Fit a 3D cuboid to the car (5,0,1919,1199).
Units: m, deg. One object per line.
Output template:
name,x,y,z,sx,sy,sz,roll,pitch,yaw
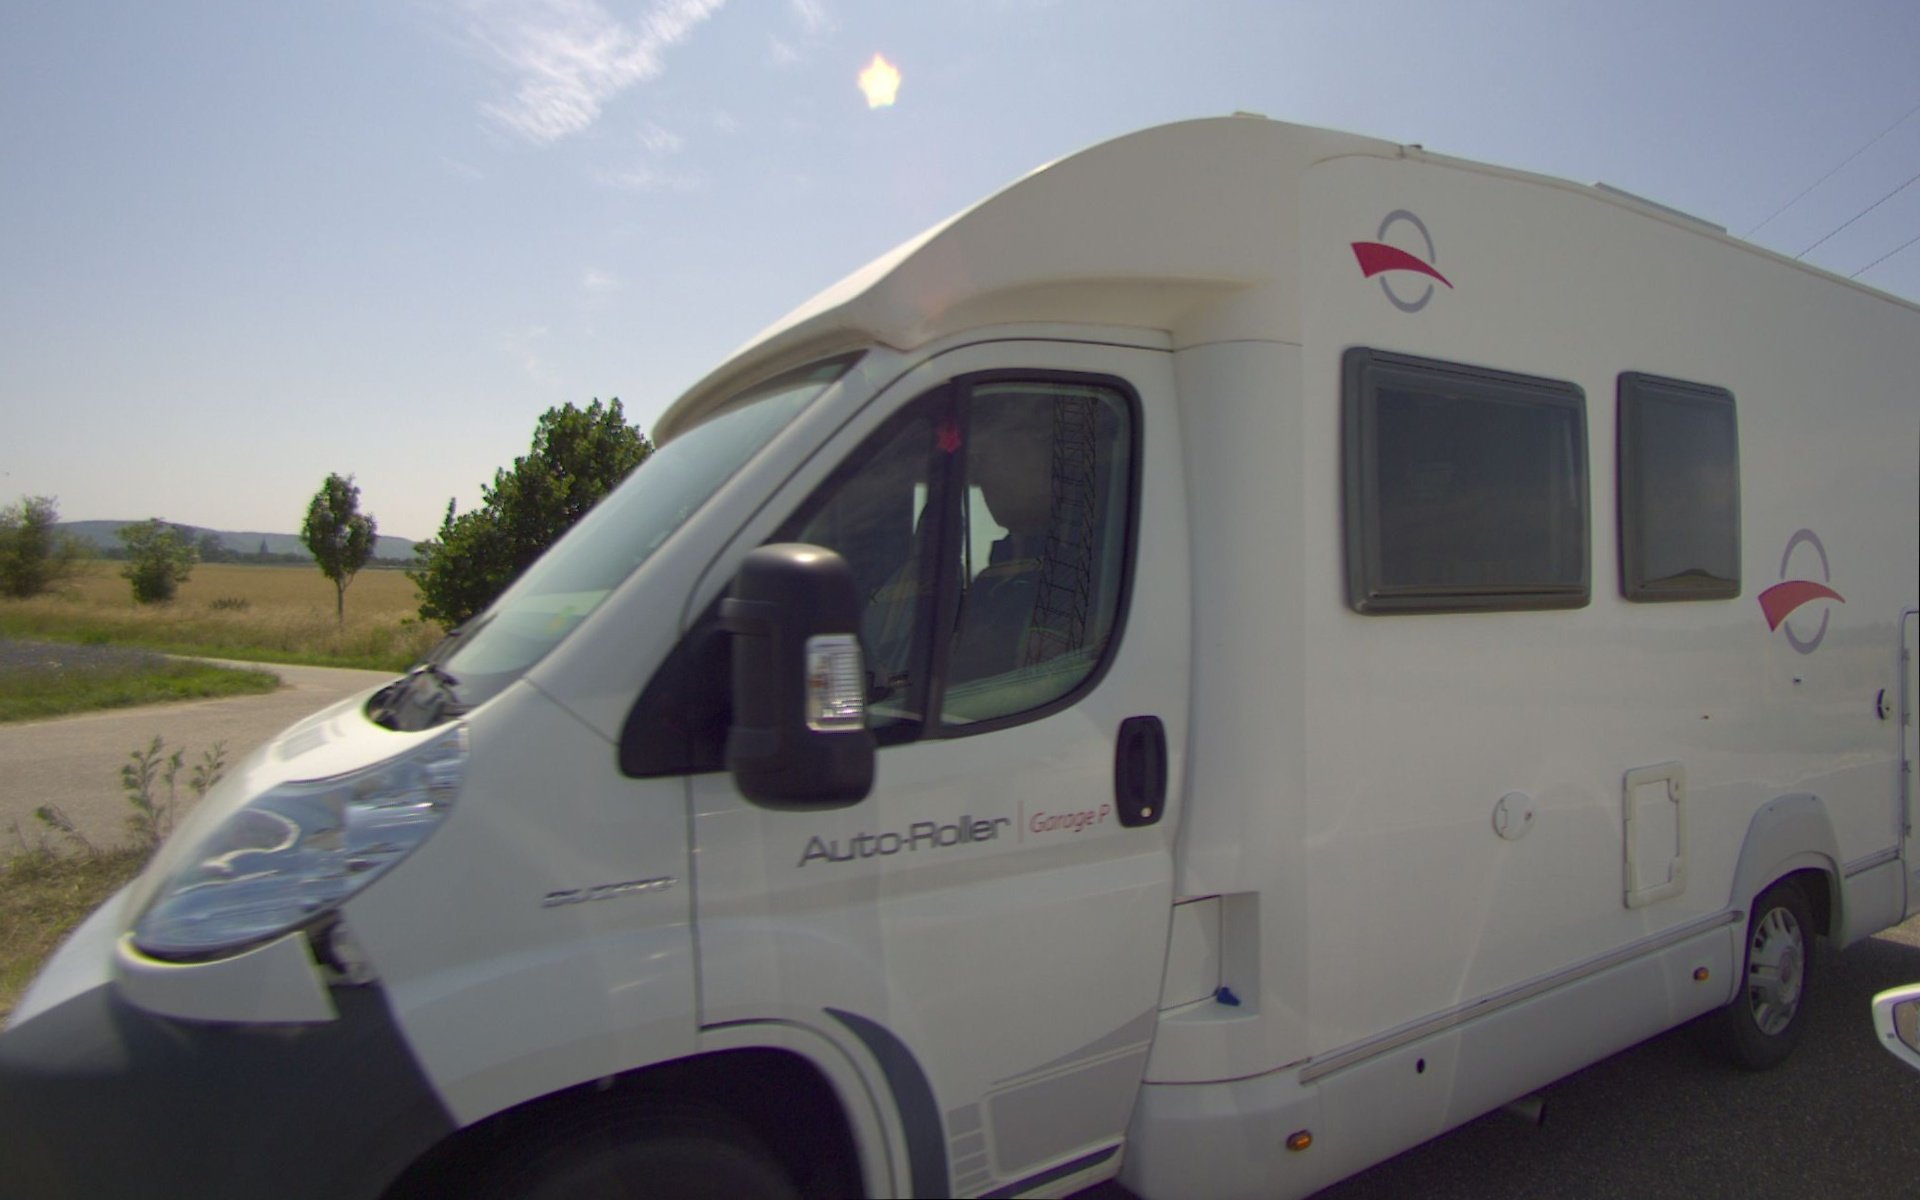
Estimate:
car,1.677,0.085,4.000,7.539,2.885,2.385,1,0,-31
